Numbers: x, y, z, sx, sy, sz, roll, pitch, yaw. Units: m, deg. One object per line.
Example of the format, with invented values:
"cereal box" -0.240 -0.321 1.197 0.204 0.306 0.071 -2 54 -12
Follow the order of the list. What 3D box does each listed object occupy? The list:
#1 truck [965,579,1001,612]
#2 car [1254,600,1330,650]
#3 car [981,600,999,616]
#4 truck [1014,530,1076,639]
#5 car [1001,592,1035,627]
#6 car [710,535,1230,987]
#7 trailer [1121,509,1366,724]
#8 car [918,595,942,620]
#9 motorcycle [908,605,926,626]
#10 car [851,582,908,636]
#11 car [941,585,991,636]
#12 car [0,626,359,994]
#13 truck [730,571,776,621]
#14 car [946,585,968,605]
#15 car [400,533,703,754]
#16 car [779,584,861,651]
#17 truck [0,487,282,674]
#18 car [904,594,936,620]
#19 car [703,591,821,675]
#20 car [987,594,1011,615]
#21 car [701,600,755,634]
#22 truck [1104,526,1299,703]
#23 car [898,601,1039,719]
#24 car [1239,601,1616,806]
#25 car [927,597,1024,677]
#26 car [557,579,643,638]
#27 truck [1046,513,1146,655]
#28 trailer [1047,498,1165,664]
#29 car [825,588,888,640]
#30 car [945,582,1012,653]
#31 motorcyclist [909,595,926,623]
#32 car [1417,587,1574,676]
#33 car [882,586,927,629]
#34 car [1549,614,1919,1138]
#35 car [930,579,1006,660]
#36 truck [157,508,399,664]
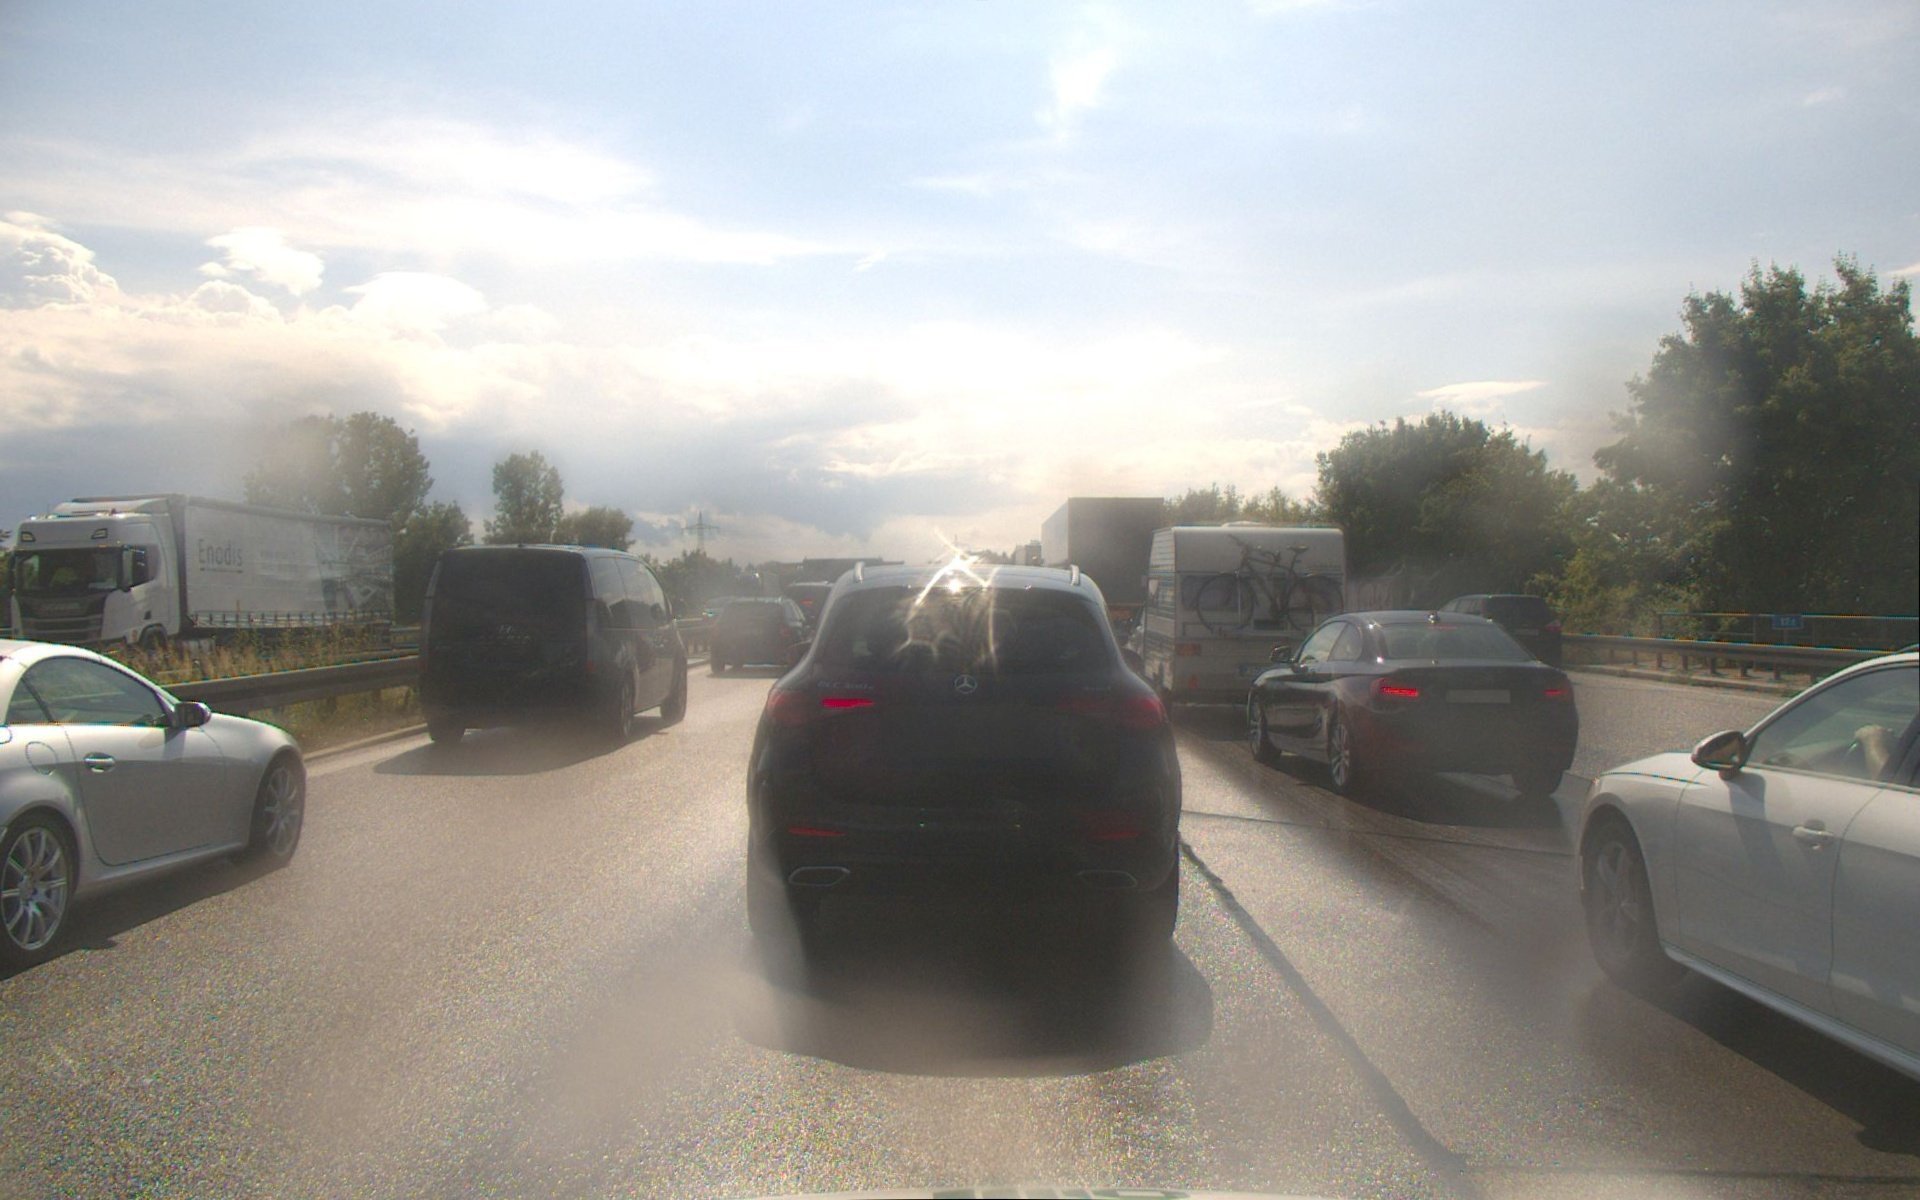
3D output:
"truck" 2.920 -0.588 215.081 3.766 4.087 11.213 1 0 -3
"car" 11.197 0.827 55.999 1.810 1.596 4.000 1 0 0
"car" 3.397 0.915 188.120 1.838 1.791 3.998 1 0 -2
"truck" 3.980 -0.673 78.971 2.451 4.914 7.542 1 0 0
"car" 3.672 0.589 105.125 1.953 2.048 4.001 4 0 1
"car" 0.059 0.612 8.441 1.952 1.690 4.406 0 0 0
"trailer" 3.711 0.207 23.061 2.325 2.527 6.523 1 0 0
"car" -2.650 0.652 145.624 1.954 2.048 3.999 4 0 -2
"motorcycle" -2.751 0.968 106.147 1.051 1.293 2.690 0 0 1
"car" -3.320 0.351 68.679 1.953 2.048 4.001 4 0 1
"car" 0.286 0.409 67.803 1.952 2.049 4.001 0 0 1
"car" -4.398 0.810 7.684 1.689 1.300 4.063 0 0 0
"truck" -18.160 -0.333 145.206 2.943 4.175 7.686 -1 0 0
"car" -0.265 -0.414 150.641 1.838 1.791 3.998 1 0 -2
"car" -4.213 0.403 18.039 1.952 2.049 5.269 0 0 0
"car" -3.844 0.462 46.086 1.953 1.750 3.999 1 0 -1
"truck" -18.756 -0.346 38.285 2.803 3.888 7.877 0 -1 0
"car" -2.798 0.481 115.816 1.953 1.644 4.001 4 0 1
"car" -3.847 0.609 32.832 1.720 1.543 4.209 0 0 2
"car" 3.467 0.409 148.152 1.838 1.791 3.998 1 0 -2
"car" -11.055 0.800 79.173 1.953 1.485 4.098 2 0 0
"truck" 3.746 0.217 26.802 2.325 2.520 5.756 1 0 0
"car" 0.159 0.734 22.165 1.720 1.411 3.946 0 0 2
"car" 3.812 0.766 14.317 1.812 1.490 4.252 0 0 -4
"car" 0.318 0.692 32.357 1.769 1.432 4.000 1 0 1
"car" -14.638 0.292 67.665 1.952 2.247 6.980 1 1 0
"truck" 4.239 -0.477 52.368 2.933 4.239 5.242 1 0 3
"trailer" 3.989 -0.478 46.892 2.944 4.239 8.539 1 0 3
"car" -3.769 0.488 60.874 1.952 1.803 4.001 2 0 1
"car" 0.618 0.541 53.114 1.953 2.048 4.001 4 0 1
"motorcyclist" -2.746 0.576 106.238 1.042 1.748 0.785 1 0 0
"car" 10.677 0.582 33.303 1.783 1.649 4.364 1 0 1
"car" -2.732 0.372 82.036 1.952 2.049 4.001 1 0 1
"car" 3.565 0.805 5.068 1.790 1.450 4.509 2 -1 -1
"car" 0.252 0.506 44.864 1.952 2.049 4.001 1 0 1
"truck" -18.736 -0.277 46.283 2.790 3.920 9.422 0 -1 0
